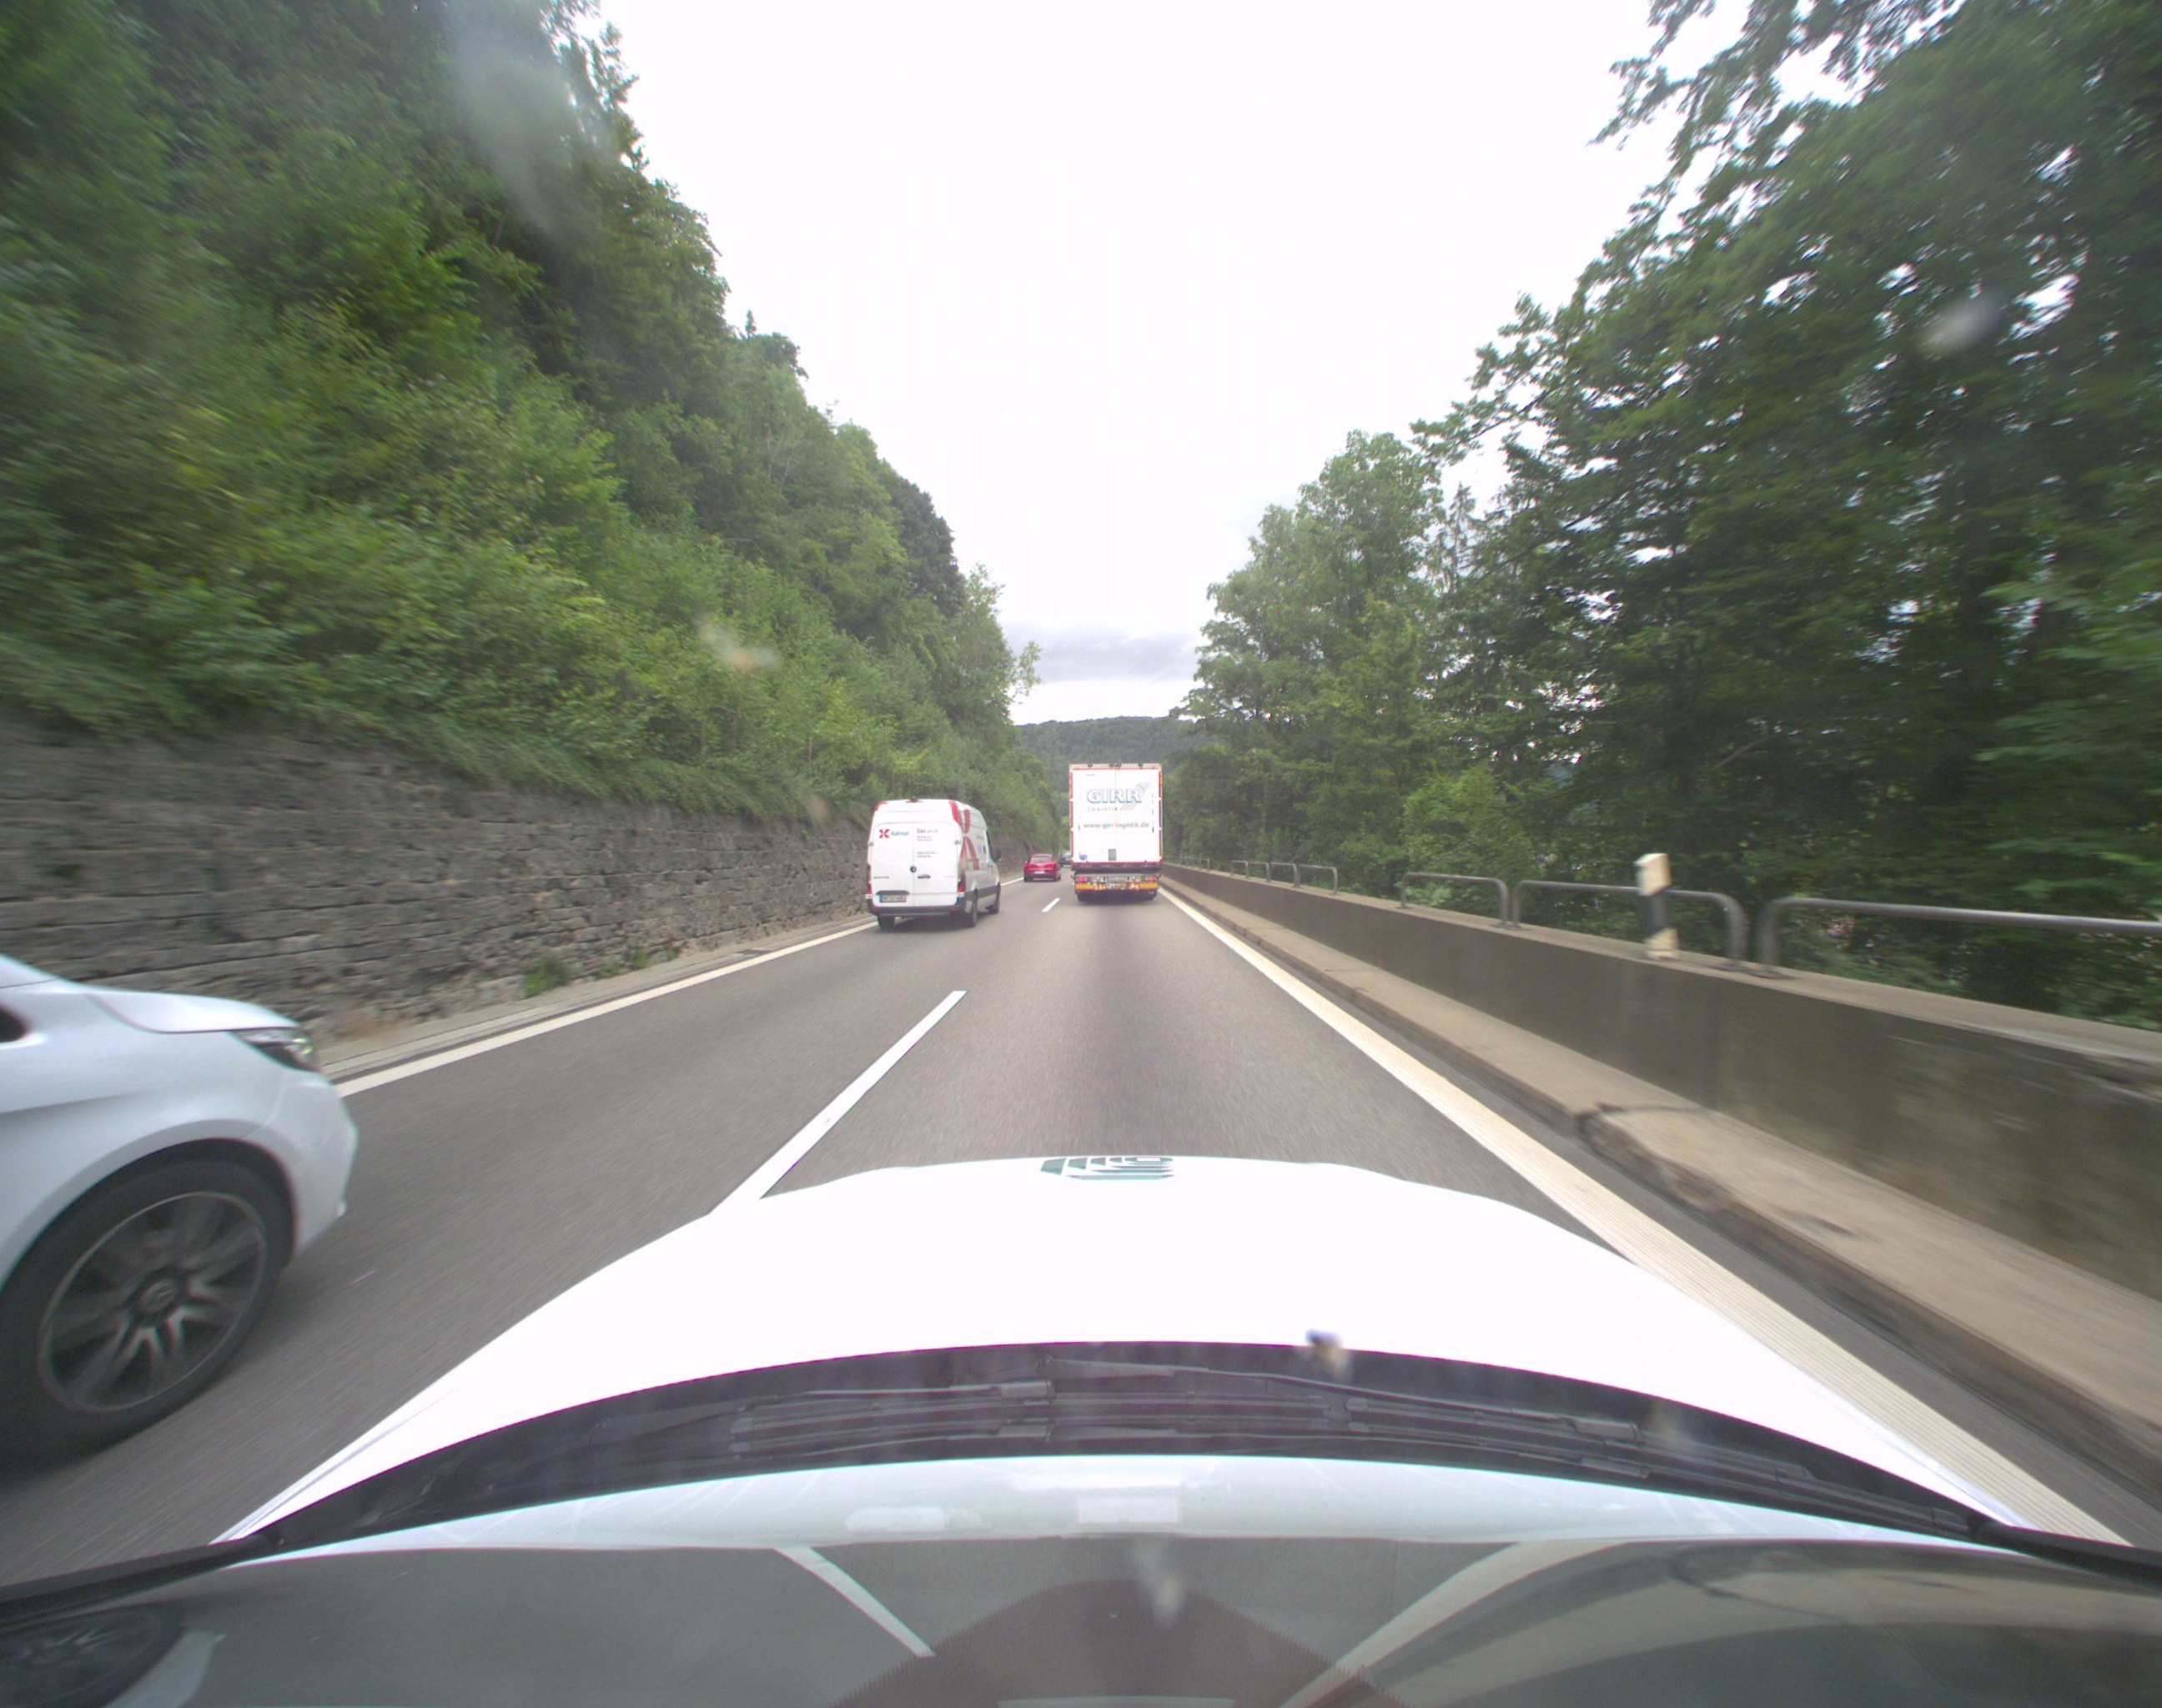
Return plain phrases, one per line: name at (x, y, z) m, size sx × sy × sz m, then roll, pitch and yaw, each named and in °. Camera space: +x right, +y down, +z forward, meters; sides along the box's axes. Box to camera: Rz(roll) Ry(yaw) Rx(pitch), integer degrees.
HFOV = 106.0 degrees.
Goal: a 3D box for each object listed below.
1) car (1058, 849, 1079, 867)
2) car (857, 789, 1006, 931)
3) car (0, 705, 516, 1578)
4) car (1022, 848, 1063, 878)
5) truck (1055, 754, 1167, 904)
car at (-1.167, 0.401, 77.638) m, size 1.662 × 1.638 × 4.070 m, roll -2°, pitch 0°, yaw 2°
car at (-3.082, 0.127, 18.356) m, size 2.019 × 2.585 × 6.275 m, roll -2°, pitch 0°, yaw 1°
car at (-3.459, 0.656, 0.345) m, size 1.986 × 1.953 × 6.150 m, roll 0°, pitch 0°, yaw 2°
car at (-2.000, 0.480, 43.550) m, size 1.759 × 1.460 × 4.414 m, roll -2°, pitch 0°, yaw 2°
truck at (1.034, -0.682, 26.571) m, size 2.897 × 3.960 × 9.285 m, roll -2°, pitch 0°, yaw 3°
